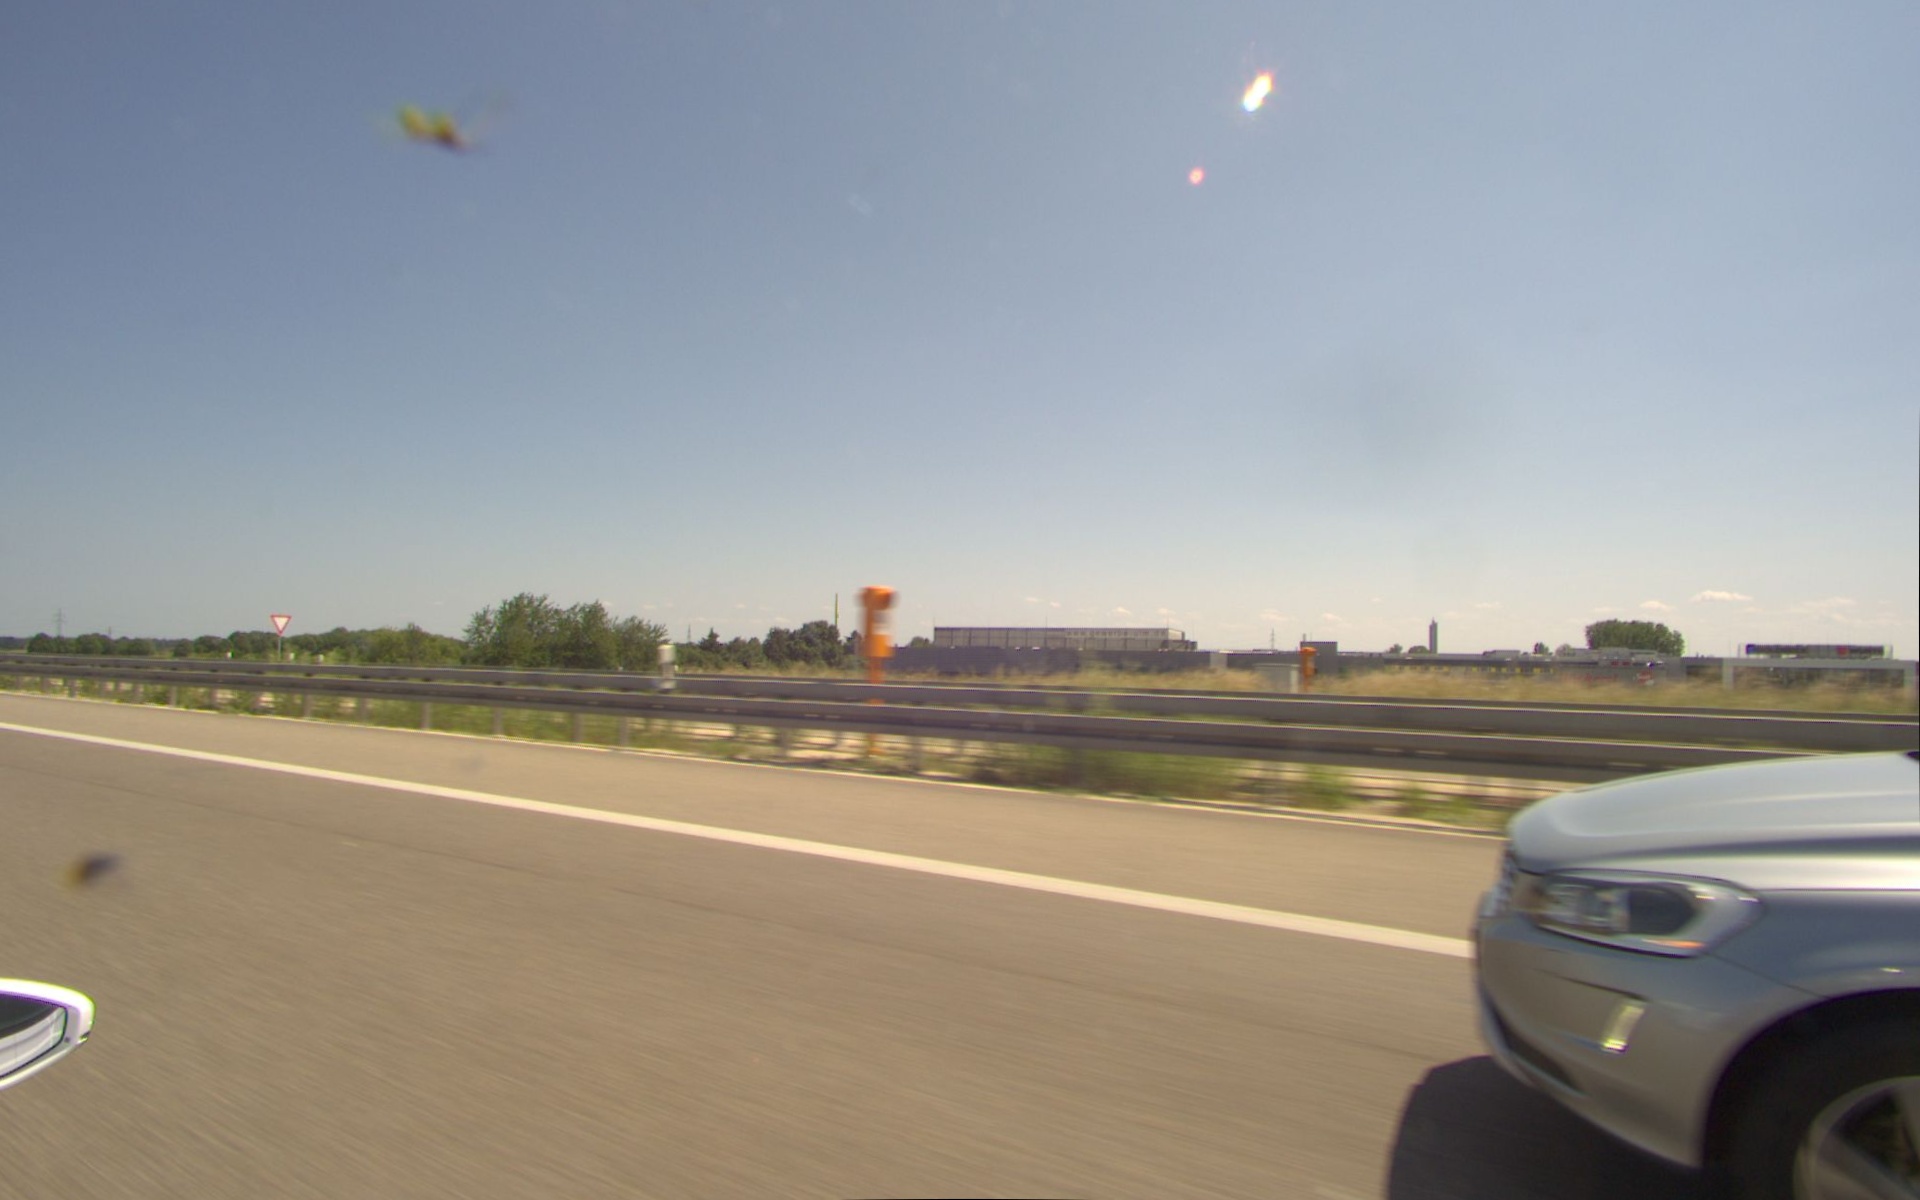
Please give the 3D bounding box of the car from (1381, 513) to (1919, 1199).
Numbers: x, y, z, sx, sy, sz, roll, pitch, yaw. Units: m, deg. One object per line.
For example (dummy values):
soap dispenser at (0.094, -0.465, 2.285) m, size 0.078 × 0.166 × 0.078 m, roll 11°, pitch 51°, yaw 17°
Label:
car at (3.549, 0.672, 1.913) m, size 4.834 × 1.643 × 1.877 m, roll -1°, pitch -2°, yaw 33°
